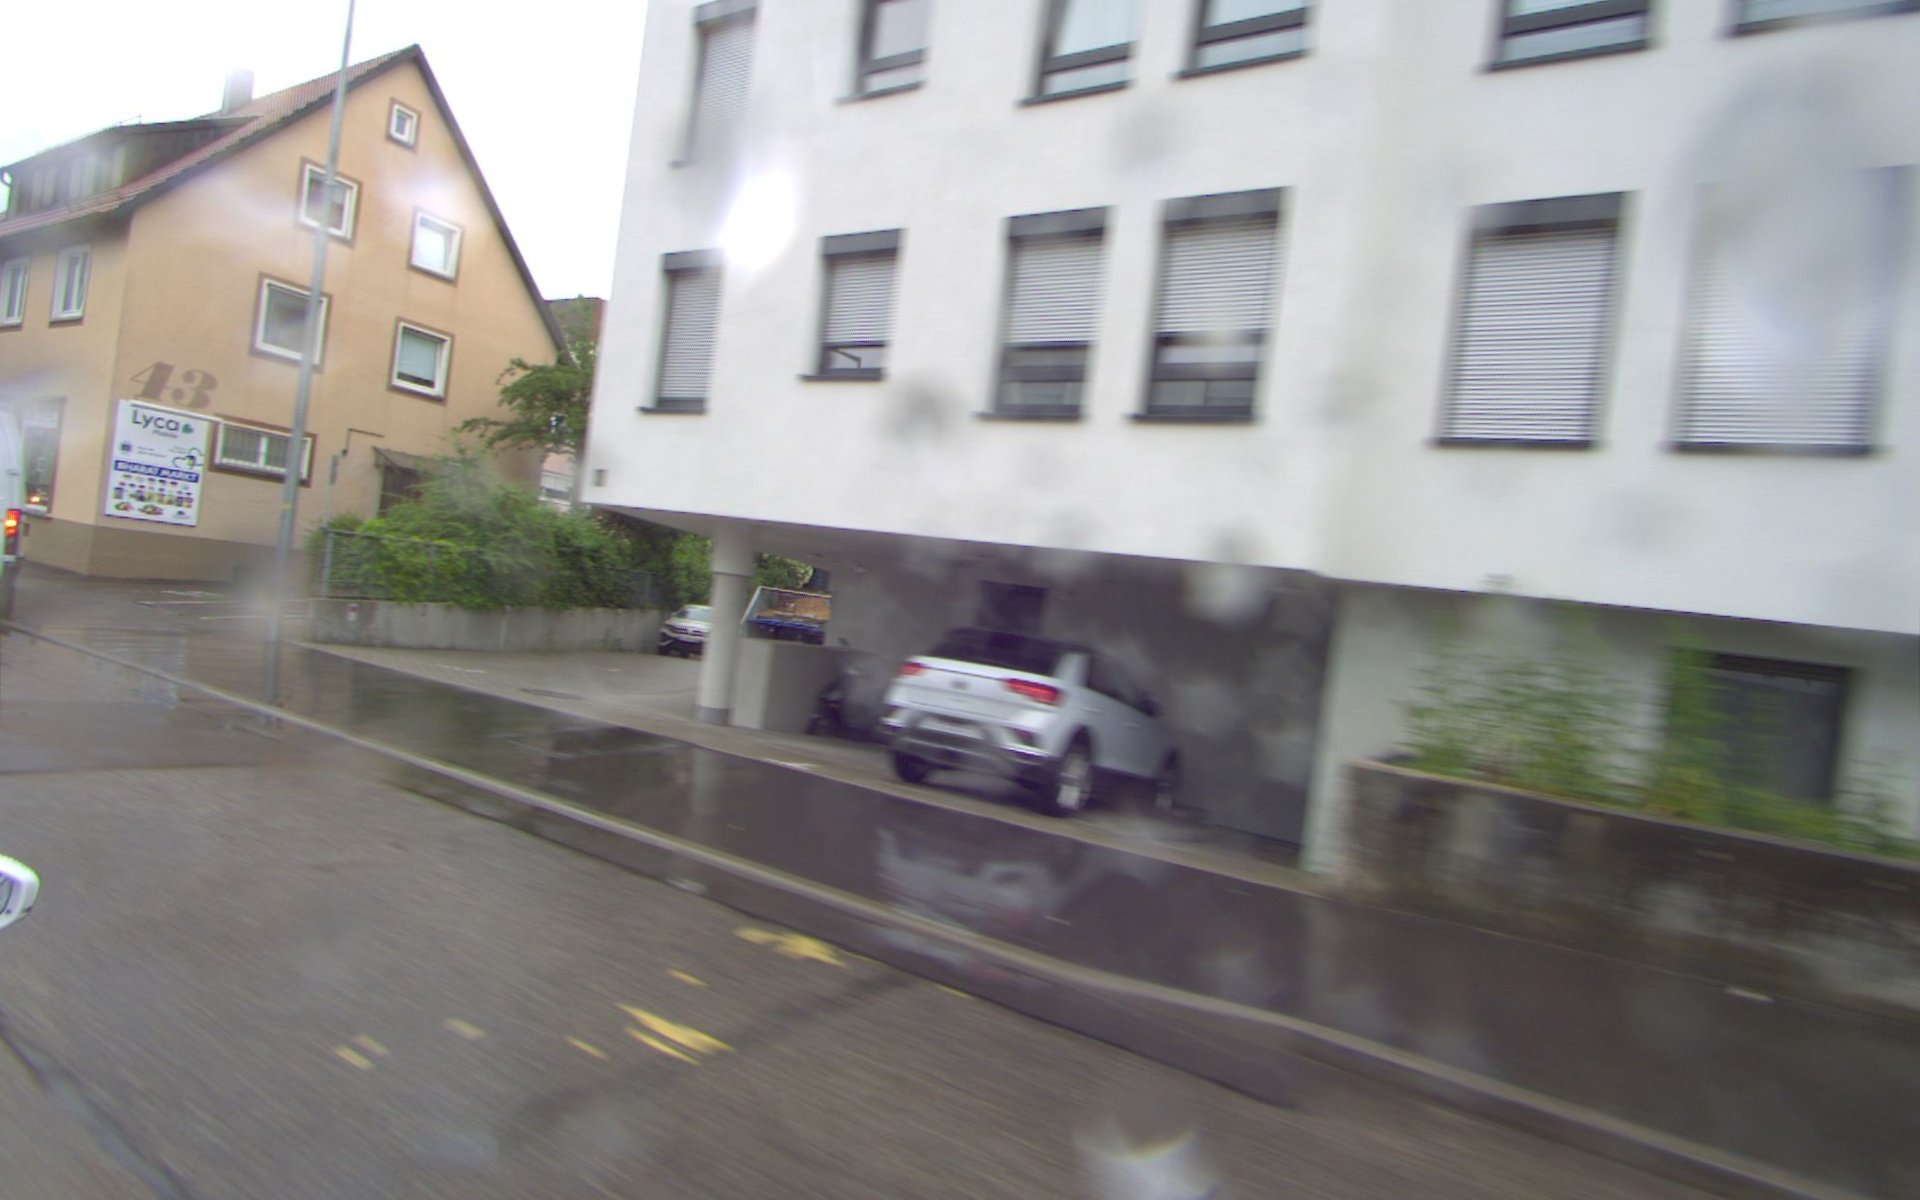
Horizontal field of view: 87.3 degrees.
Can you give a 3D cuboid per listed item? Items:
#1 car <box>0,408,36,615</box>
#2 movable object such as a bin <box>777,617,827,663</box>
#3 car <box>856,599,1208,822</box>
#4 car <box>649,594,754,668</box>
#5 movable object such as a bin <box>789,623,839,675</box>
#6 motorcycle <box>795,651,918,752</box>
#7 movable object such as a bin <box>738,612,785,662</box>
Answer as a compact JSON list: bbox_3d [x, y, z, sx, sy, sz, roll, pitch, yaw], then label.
[{"bbox_3d":[-14.154,-1.293,13.601,2.283,2.411,6.547,6,-1,-43],"label":"car"},{"bbox_3d":[-5.286,1.342,33.766,1.393,1.396,1.084,6,0,1],"label":"movable object such as a bin"},{"bbox_3d":[0.918,1.207,9.855,1.789,1.543,3.810,7,-7,30],"label":"car"},{"bbox_3d":[-7.076,0.938,27.992,1.800,1.552,4.008,9,-5,-1],"label":"car"},{"bbox_3d":[-4.610,1.544,31.871,1.047,1.429,1.641,11,0,3],"label":"movable object such as a bin"},{"bbox_3d":[-1.386,1.382,13.596,1.435,1.081,0.442,14,-5,-31],"label":"motorcycle"},{"bbox_3d":[-6.627,1.231,33.682,1.146,1.542,1.505,6,-1,0],"label":"movable object such as a bin"}]
